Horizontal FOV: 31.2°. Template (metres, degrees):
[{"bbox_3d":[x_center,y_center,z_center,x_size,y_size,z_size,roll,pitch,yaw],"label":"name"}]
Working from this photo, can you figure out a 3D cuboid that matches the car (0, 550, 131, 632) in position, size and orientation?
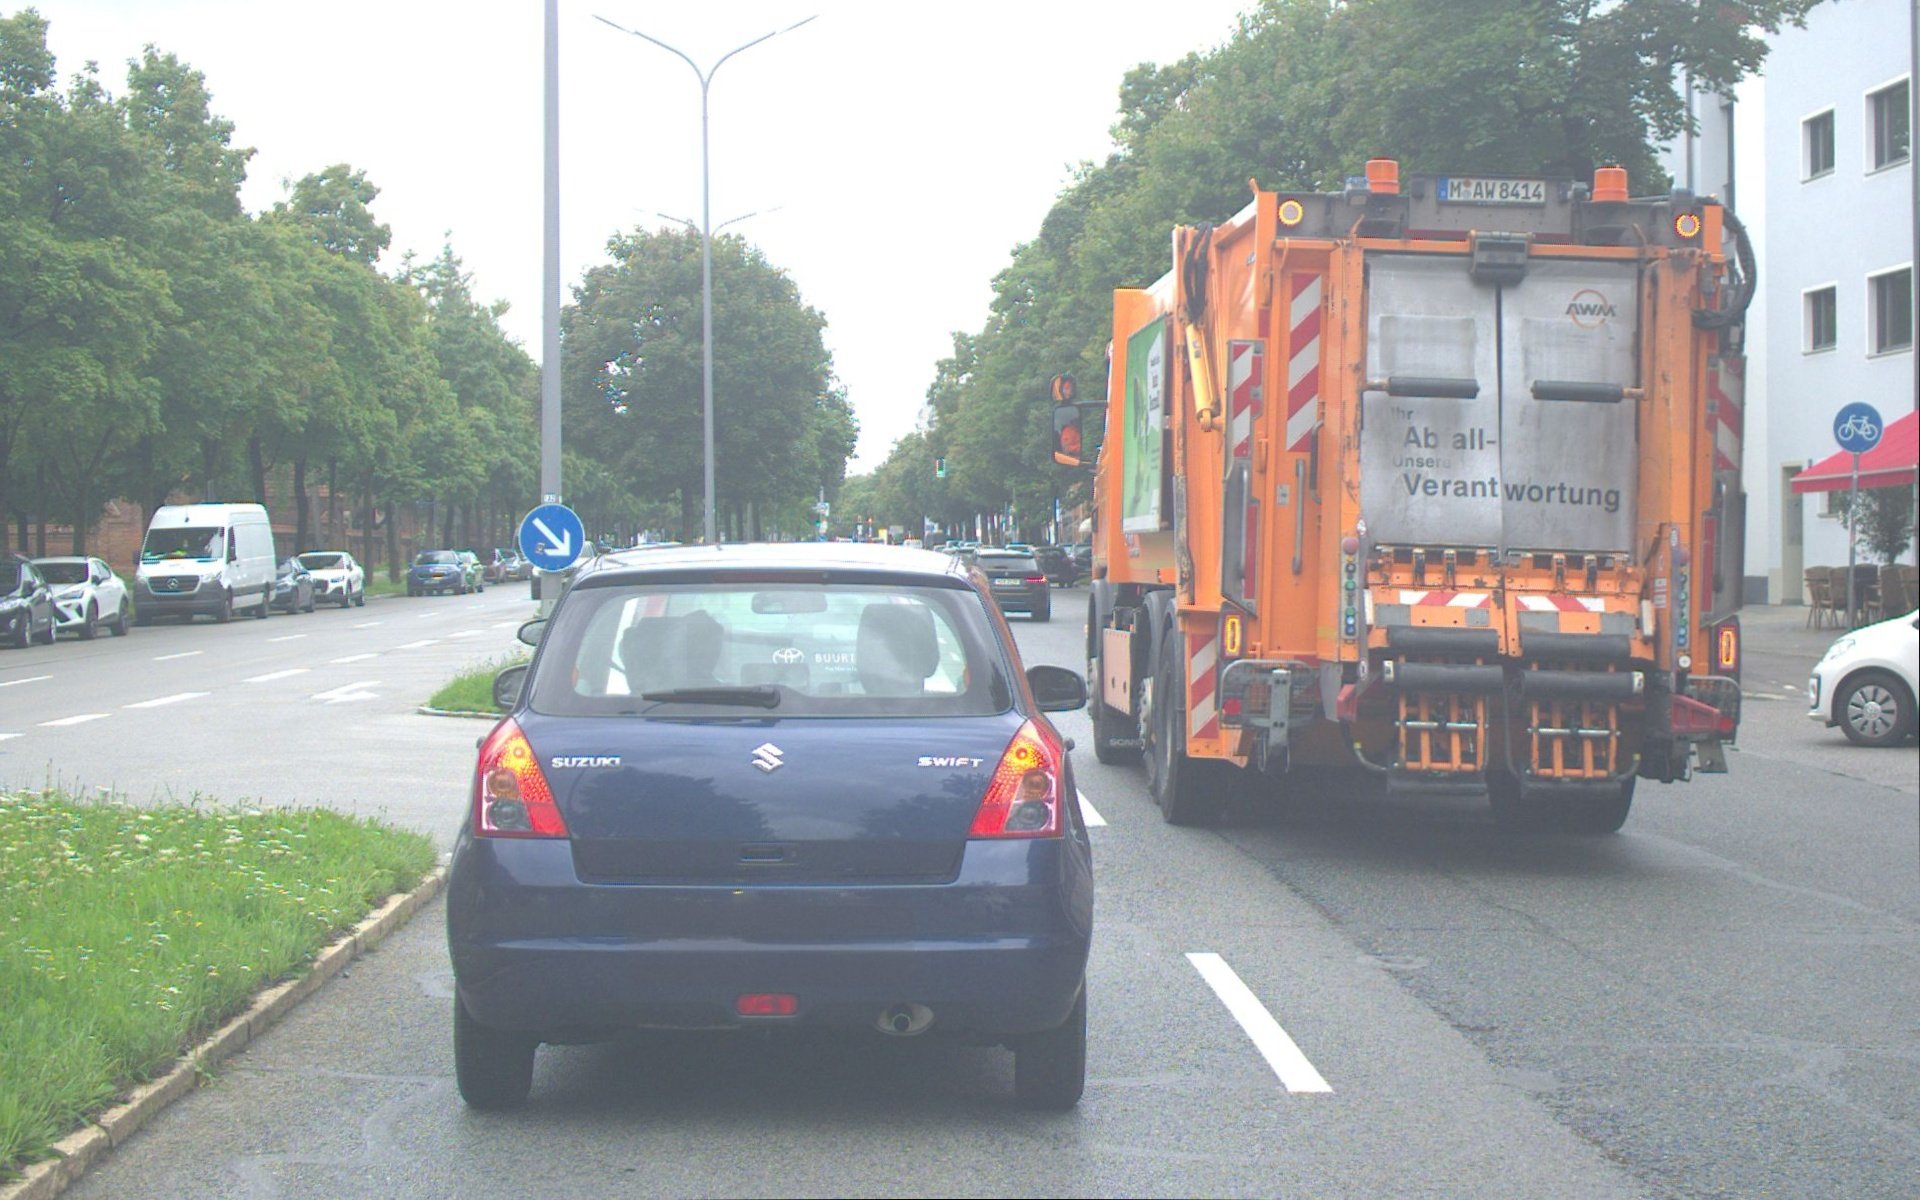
[{"bbox_3d":[-16.239,-0.179,62.254,1.632,1.426,3.879,1,1,-2],"label":"car"}]

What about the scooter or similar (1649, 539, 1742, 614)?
[{"bbox_3d":[13.158,-0.431,61.592,1.033,1.303,2.755,0,1,-1],"label":"scooter or similar"}]

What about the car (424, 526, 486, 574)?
[{"bbox_3d":[-16.867,-1.672,114.974,1.632,1.577,3.879,1,1,-2],"label":"car"}]

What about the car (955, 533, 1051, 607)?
[{"bbox_3d":[0.843,-0.637,69.816,1.758,1.408,4.463,1,1,-1],"label":"car"}]

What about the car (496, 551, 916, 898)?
[{"bbox_3d":[-1.303,0.517,16.562,1.443,1.478,3.107,0,1,-15],"label":"car"}]

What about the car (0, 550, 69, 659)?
[{"bbox_3d":[-16.015,0.038,56.923,1.632,1.735,3.879,1,1,-2],"label":"car"}]

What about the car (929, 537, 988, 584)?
[{"bbox_3d":[-0.055,-1.213,105.333,1.682,1.379,3.919,1,1,-2],"label":"car"}]

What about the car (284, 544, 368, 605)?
[{"bbox_3d":[-16.930,-0.684,91.955,1.632,1.577,3.879,1,1,-2],"label":"car"}]

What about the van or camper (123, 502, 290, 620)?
[{"bbox_3d":[-16.660,-0.882,76.424,2.117,2.473,7.449,1,1,0],"label":"van or camper"}]

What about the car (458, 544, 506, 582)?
[{"bbox_3d":[-20.145,-1.559,145.039,1.632,1.577,3.879,1,1,-2],"label":"car"}]

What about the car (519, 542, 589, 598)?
[{"bbox_3d":[-11.468,-0.853,97.284,1.632,1.547,3.879,1,1,-2],"label":"car"}]

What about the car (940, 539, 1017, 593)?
[{"bbox_3d":[0.482,-0.958,95.143,1.731,1.427,4.443,1,1,-4],"label":"car"}]

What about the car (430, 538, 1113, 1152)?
[{"bbox_3d":[-0.545,0.571,10.445,1.682,1.496,3.919,0,1,-2],"label":"car"}]

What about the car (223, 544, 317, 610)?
[{"bbox_3d":[-16.893,-0.574,84.306,1.632,1.577,3.879,1,1,-2],"label":"car"}]

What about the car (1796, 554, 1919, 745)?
[{"bbox_3d":[8.413,0.364,26.241,3.554,1.412,1.868,0,1,31],"label":"car"}]

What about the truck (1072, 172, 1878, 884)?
[{"bbox_3d":[2.471,-0.407,20.054,3.038,3.178,9.134,1,1,-2],"label":"truck"}]

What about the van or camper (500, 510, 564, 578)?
[{"bbox_3d":[-21.524,-2.809,173.100,2.561,3.284,6.938,1,1,-2],"label":"van or camper"}]
